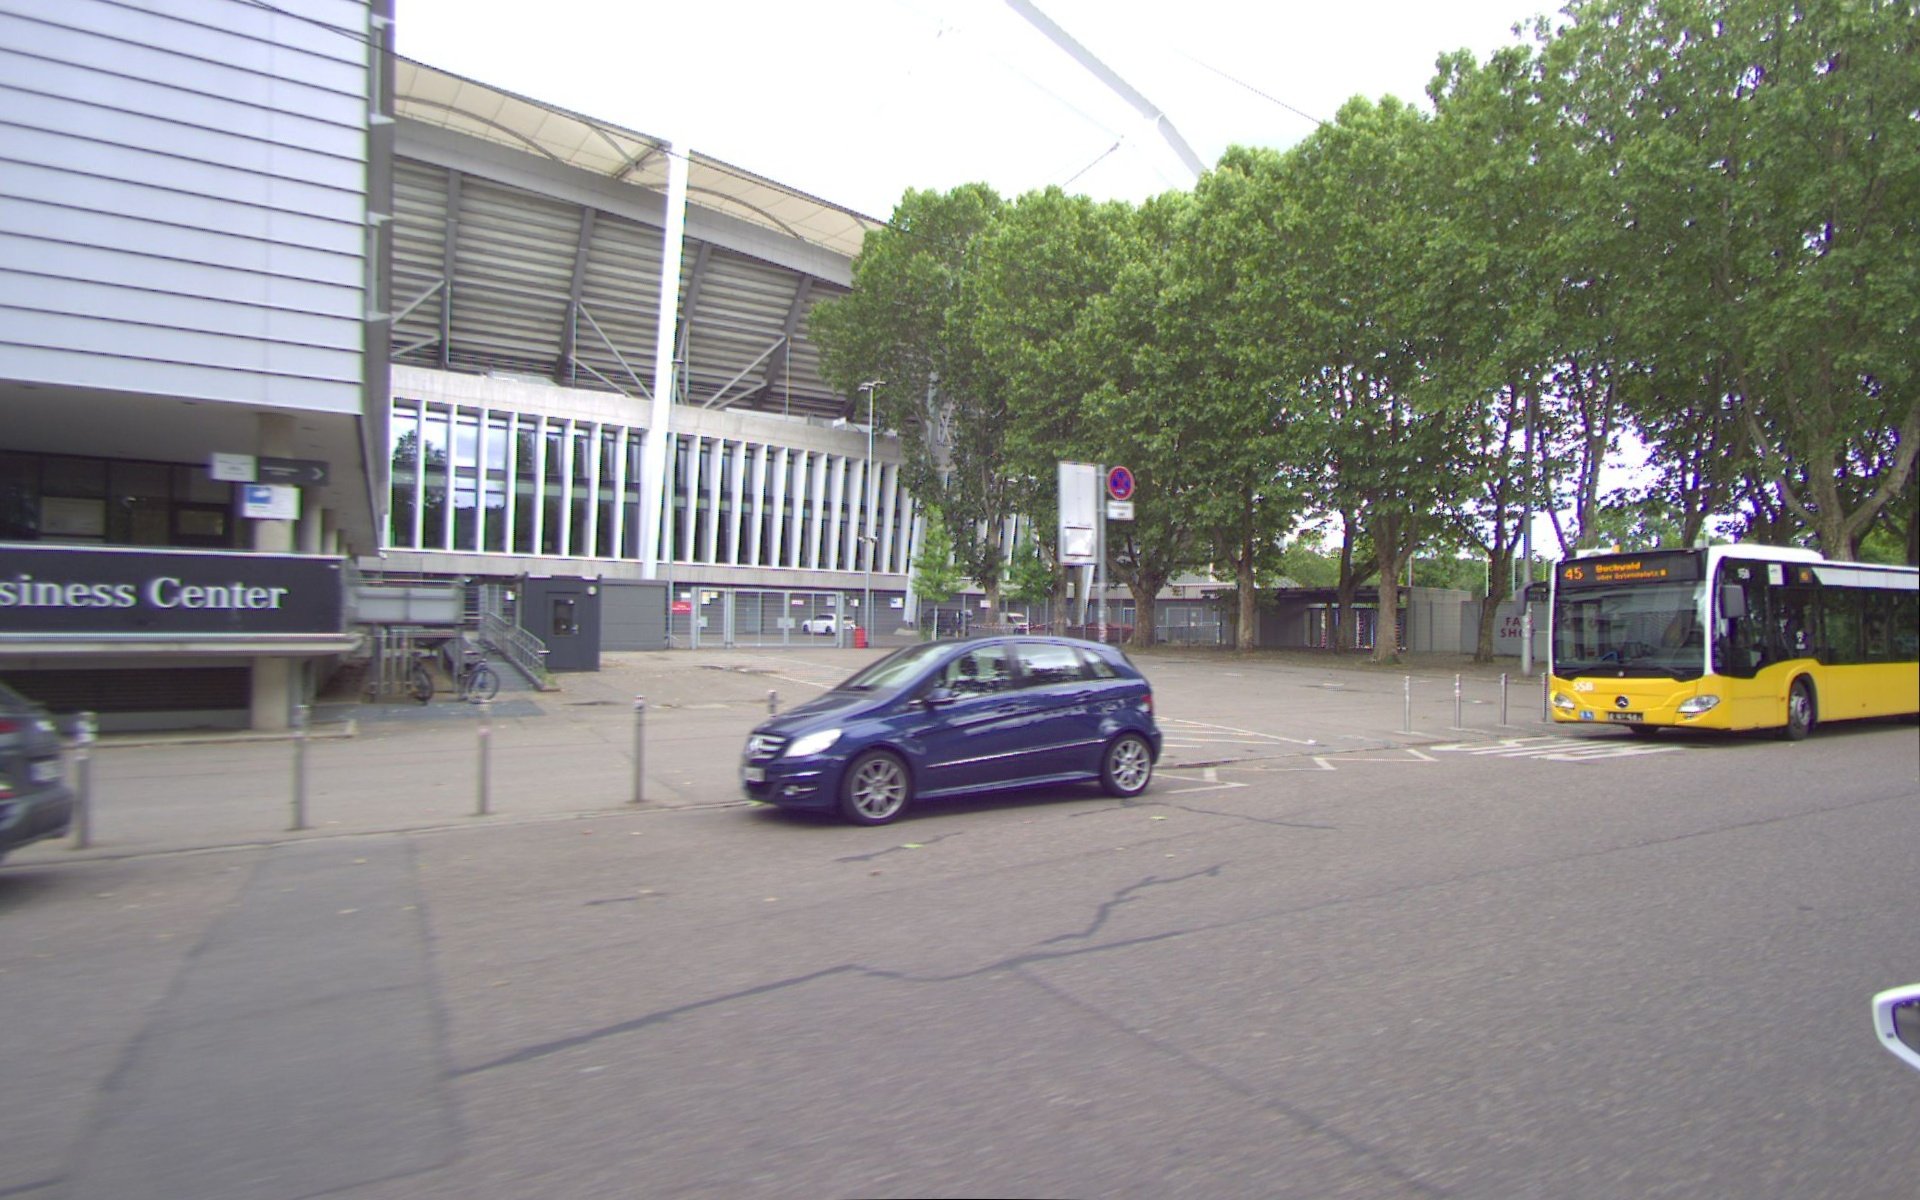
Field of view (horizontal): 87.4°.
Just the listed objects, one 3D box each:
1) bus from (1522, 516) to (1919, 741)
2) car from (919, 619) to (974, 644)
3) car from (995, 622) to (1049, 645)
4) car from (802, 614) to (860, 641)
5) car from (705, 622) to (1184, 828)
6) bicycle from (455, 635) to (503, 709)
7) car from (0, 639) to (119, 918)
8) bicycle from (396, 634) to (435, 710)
[{"bbox_3d":[15.294,0.642,18.441,12.219,3.195,2.641,2,-4,-29],"label":"bus"},{"bbox_3d":[-1.016,2.295,73.581,1.984,1.684,3.953,2,-1,-40],"label":"car"},{"bbox_3d":[4.733,2.545,76.864,1.984,1.684,3.953,2,-1,-40],"label":"car"},{"bbox_3d":[-8.690,1.836,67.472,1.984,1.684,3.953,2,-1,-40],"label":"car"},{"bbox_3d":[-0.066,1.097,9.669,4.338,1.586,1.745,2,-6,-32],"label":"car"},{"bbox_3d":[-8.820,1.284,18.387,0.563,1.202,1.902,2,0,-32],"label":"bicycle"},{"bbox_3d":[-7.302,1.002,5.398,3.963,1.533,1.746,2,-5,-31],"label":"car"},{"bbox_3d":[-9.658,1.243,17.792,0.465,1.202,1.815,2,0,-32],"label":"bicycle"}]
